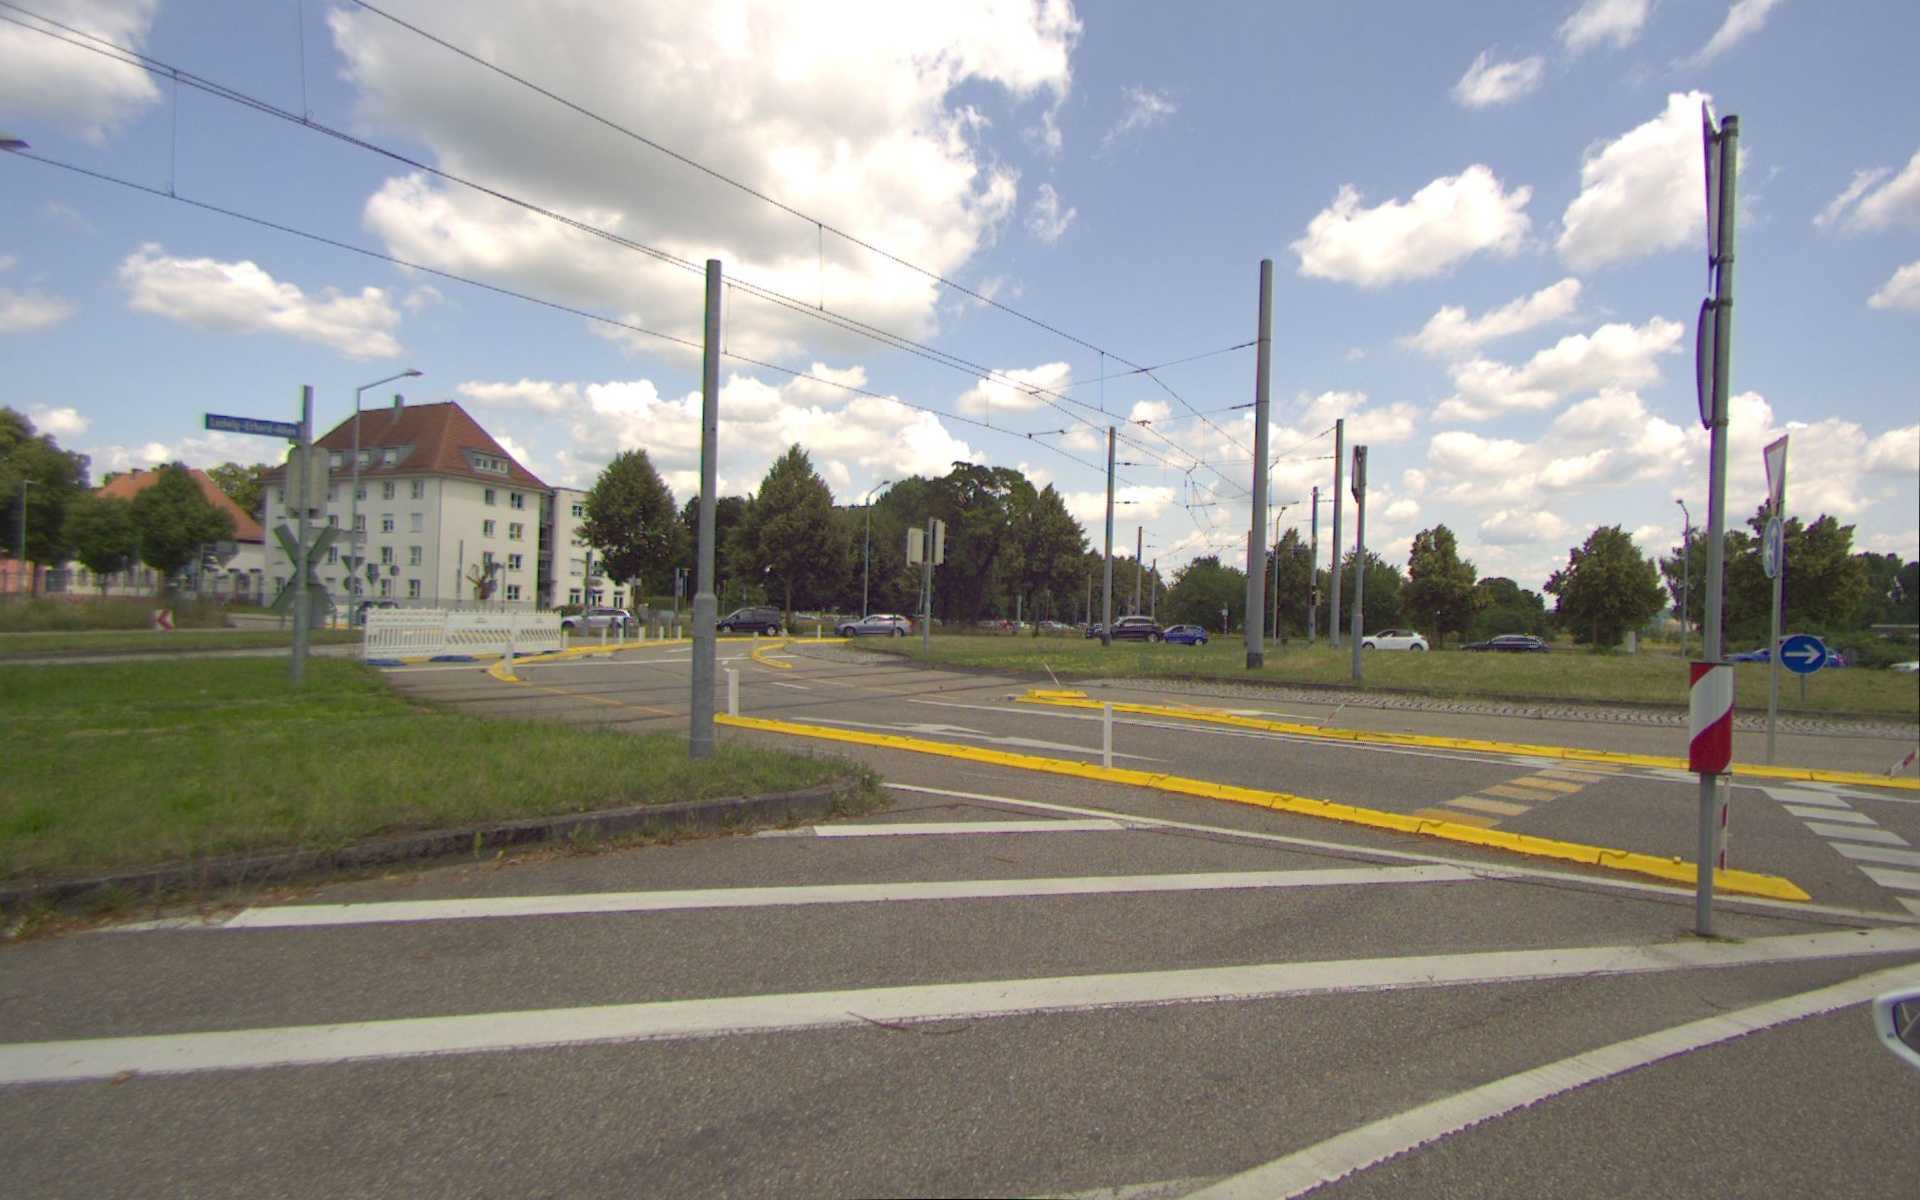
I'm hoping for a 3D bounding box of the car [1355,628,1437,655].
[{"bbox_3d":[24.887,2.341,57.435,4.228,1.347,1.999,1,-1,23],"label":"car"}]

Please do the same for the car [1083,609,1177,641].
[{"bbox_3d":[9.816,1.438,58.127,4.977,1.697,1.997,2,0,-8],"label":"car"}]

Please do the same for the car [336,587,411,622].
[{"bbox_3d":[-36.588,0.269,62.659,4.641,2.040,1.996,1,0,30],"label":"car"}]

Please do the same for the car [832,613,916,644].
[{"bbox_3d":[-5.252,1.729,60.888,4.855,1.648,2.062,2,1,-10],"label":"car"}]

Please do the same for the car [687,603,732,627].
[{"bbox_3d":[-22.254,1.360,89.390,1.960,2.040,4.000,1,-1,19],"label":"car"}]

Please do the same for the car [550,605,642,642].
[{"bbox_3d":[-21.348,1.356,59.041,4.634,2.040,1.999,1,0,-2],"label":"car"}]

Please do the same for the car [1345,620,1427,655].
[{"bbox_3d":[27.804,2.416,65.620,4.644,2.040,1.995,1,0,33],"label":"car"}]

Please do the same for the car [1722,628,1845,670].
[{"bbox_3d":[39.798,2.329,48.671,4.329,1.822,1.753,1,0,30],"label":"car"}]

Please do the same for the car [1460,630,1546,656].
[{"bbox_3d":[32.382,2.521,59.960,4.413,1.340,1.950,1,-1,32],"label":"car"}]

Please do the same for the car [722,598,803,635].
[{"bbox_3d":[-11.758,0.969,59.795,4.645,2.040,1.995,2,0,-13],"label":"car"}]

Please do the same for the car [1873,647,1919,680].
[{"bbox_3d":[48.294,3.172,49.473,4.420,1.542,2.123,1,0,22],"label":"car"}]

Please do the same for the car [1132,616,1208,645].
[{"bbox_3d":[14.102,2.026,67.591,4.633,1.815,1.848,1,0,-1],"label":"car"}]
